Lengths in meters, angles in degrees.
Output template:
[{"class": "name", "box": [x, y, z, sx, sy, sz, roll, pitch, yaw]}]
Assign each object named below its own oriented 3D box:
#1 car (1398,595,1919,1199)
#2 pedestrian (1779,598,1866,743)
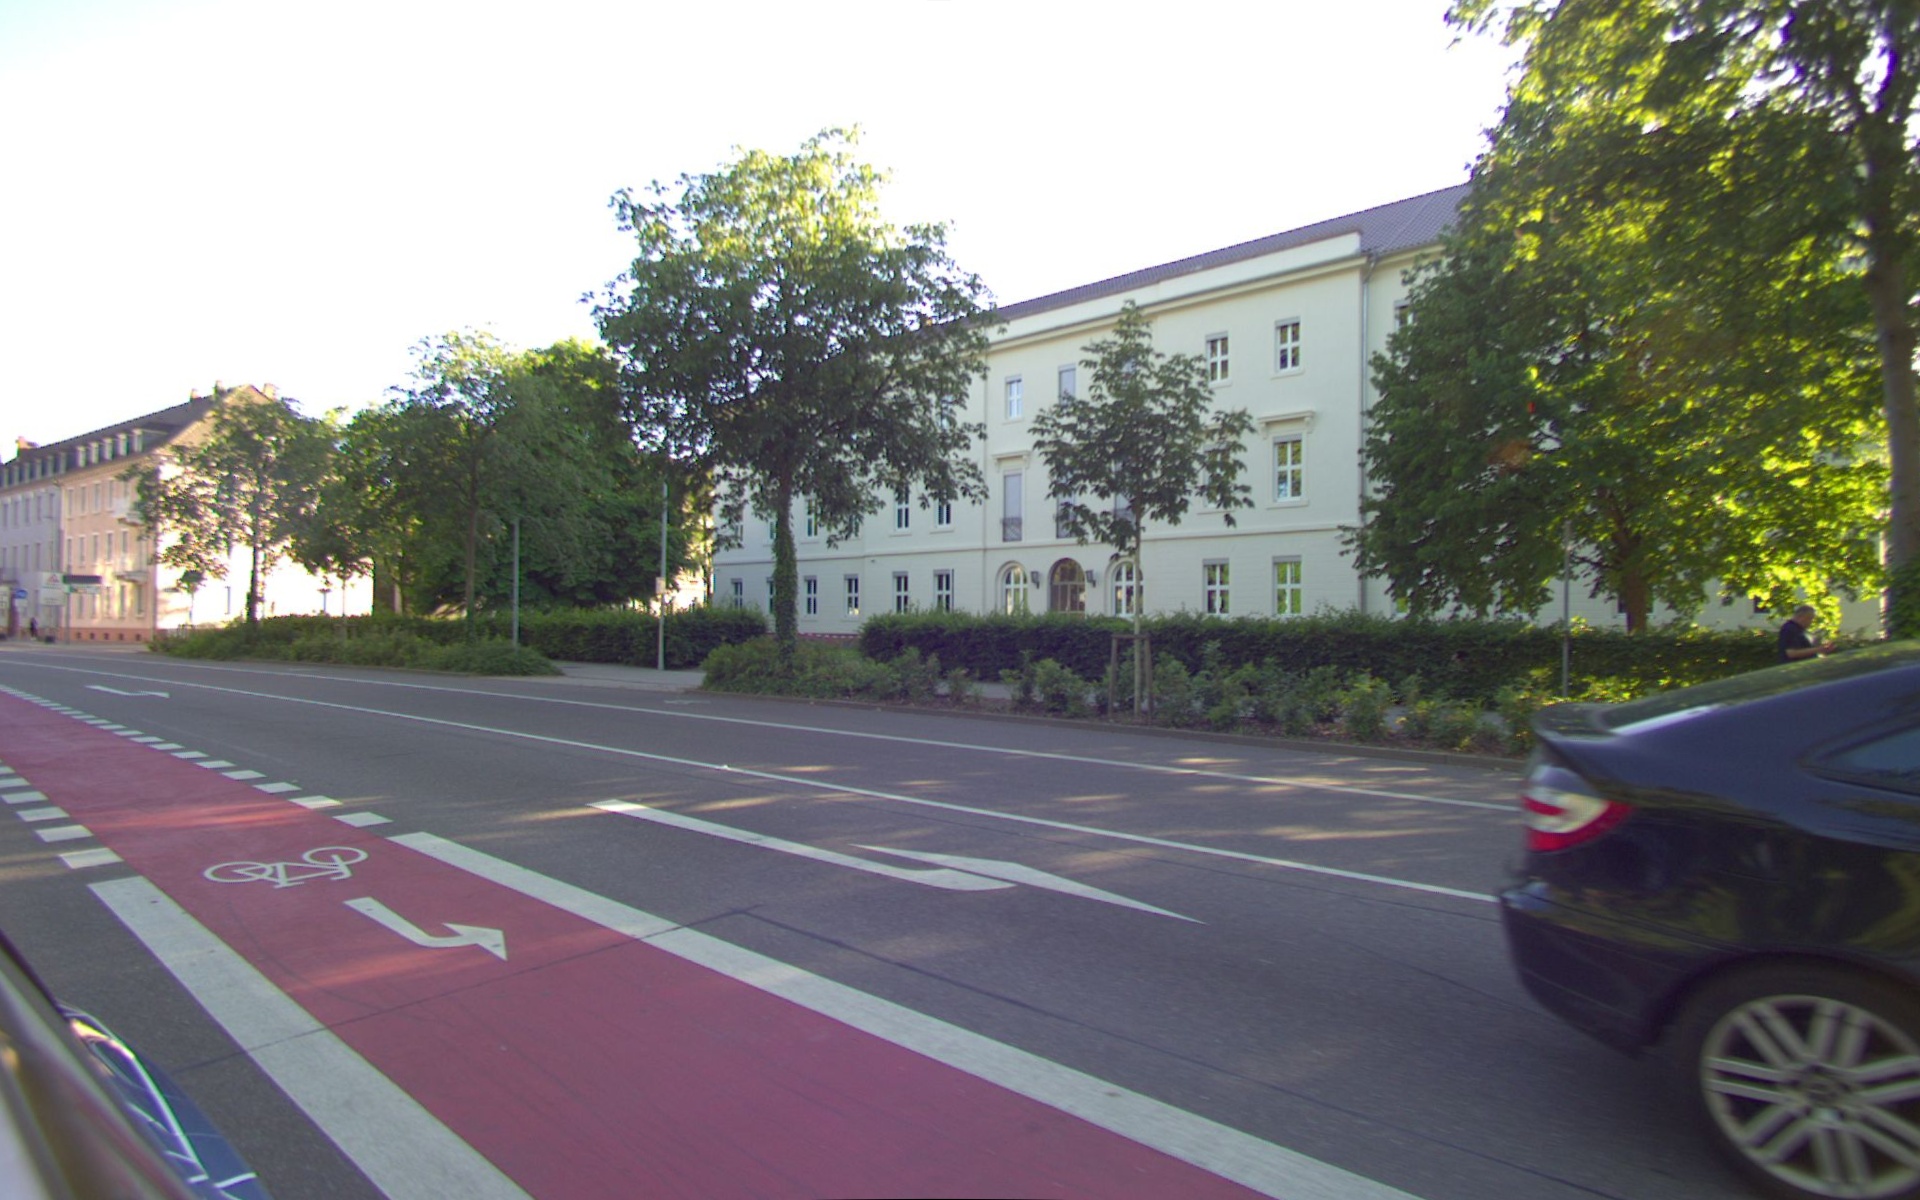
[{"class": "car", "box": [3.517, 0.690, 2.052, 4.525, 1.428, 1.699, -1, 0, 42]}, {"class": "pedestrian", "box": [10.511, 0.842, 12.334, 0.681, 1.694, 0.681, 2, -3, -40]}]
